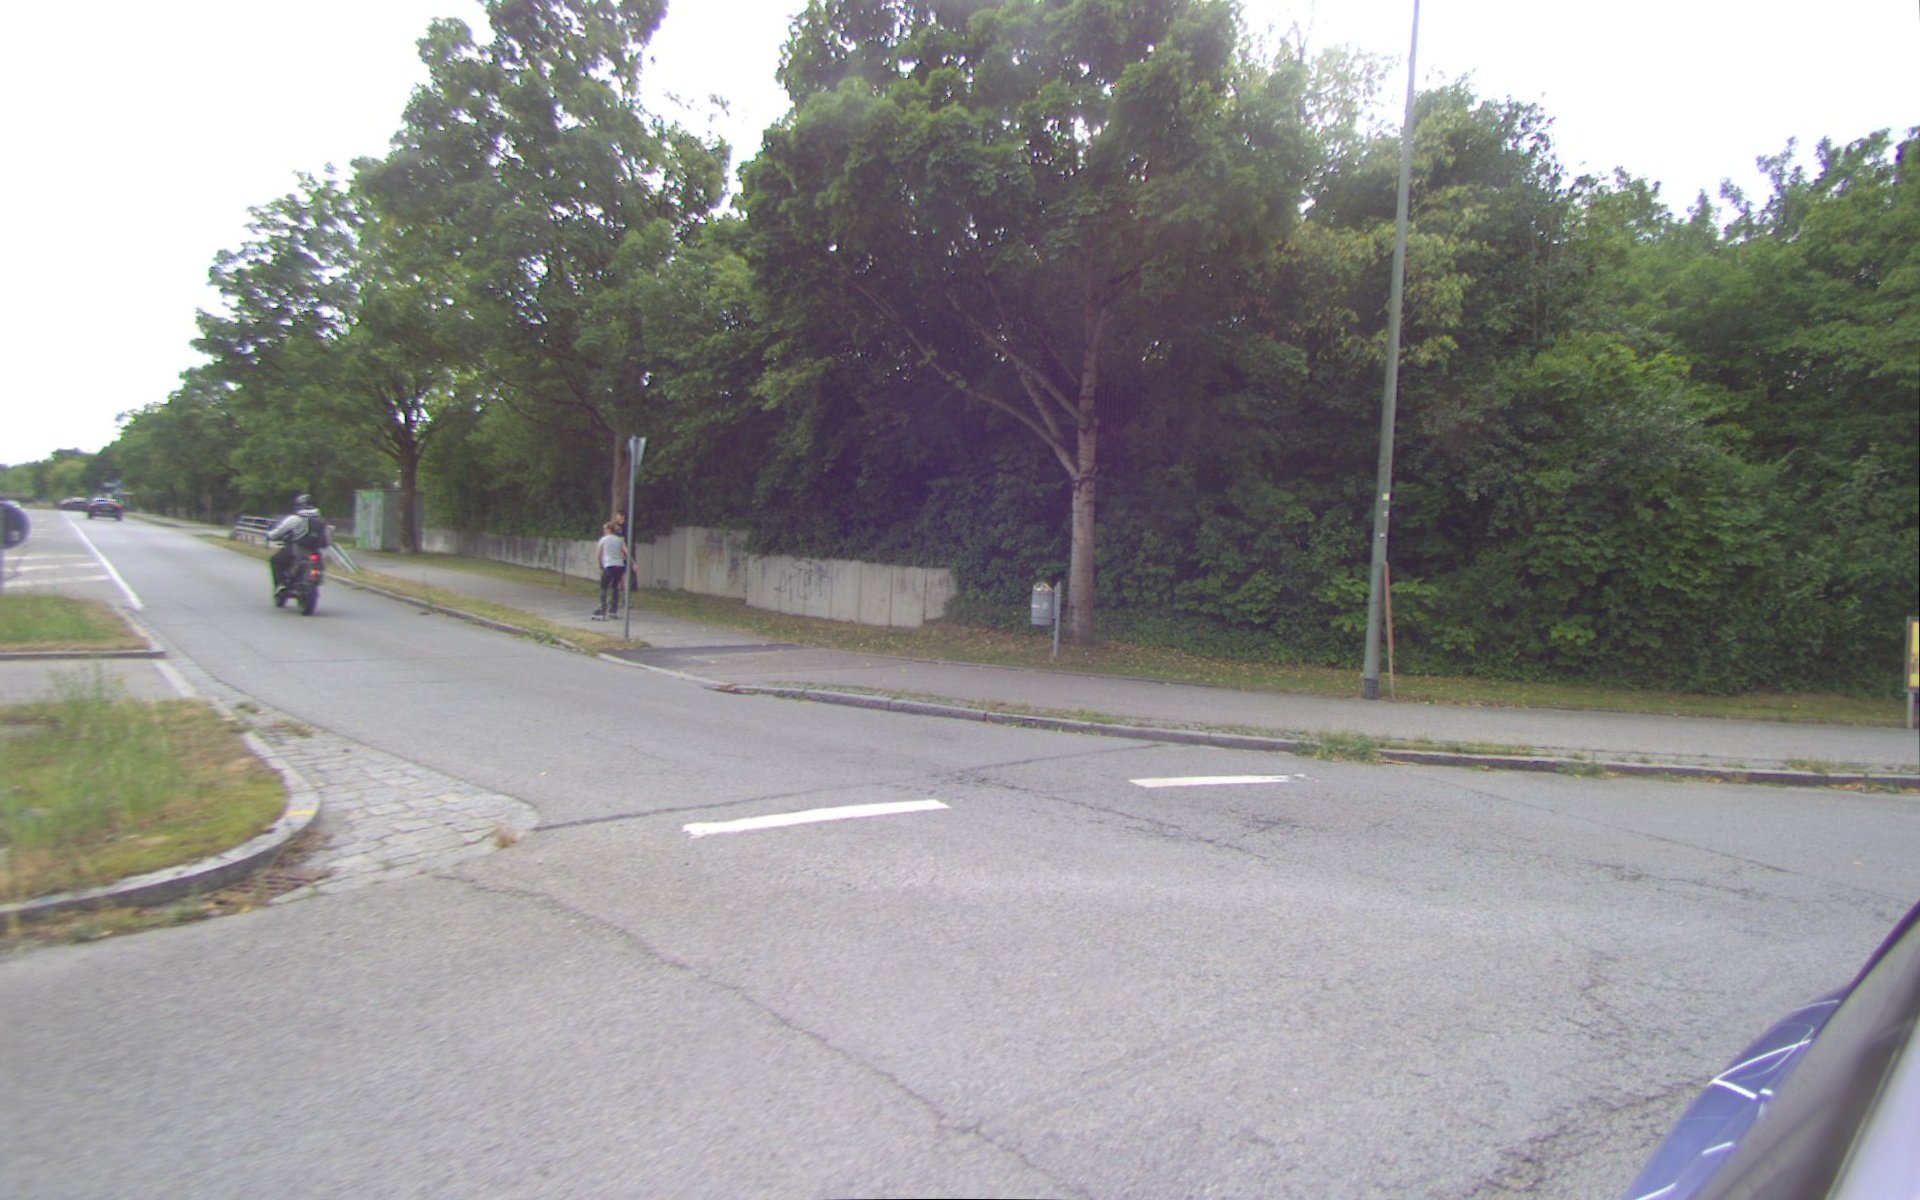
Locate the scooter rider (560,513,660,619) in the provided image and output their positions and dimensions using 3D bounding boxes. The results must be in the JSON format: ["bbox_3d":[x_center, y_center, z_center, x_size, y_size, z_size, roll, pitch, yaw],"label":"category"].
[{"bbox_3d":[-5.943,-0.582,17.162,1.241,1.692,1.083,6,3,43],"label":"scooter rider"}]

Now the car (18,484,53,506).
[{"bbox_3d":[-96.116,-10.921,105.285,2.477,1.970,5.707,1,4,-41],"label":"car"}]

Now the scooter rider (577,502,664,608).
[{"bbox_3d":[-6.534,-0.876,19.473,1.204,1.932,1.127,-1,5,-41],"label":"scooter rider"}]

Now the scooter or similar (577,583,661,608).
[{"bbox_3d":[-6.568,-0.094,19.513,1.204,0.385,1.127,-1,5,-41],"label":"scooter or similar"}]

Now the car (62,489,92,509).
[{"bbox_3d":[-100.114,-11.479,114.787,2.477,1.970,5.707,1,4,-41],"label":"car"}]

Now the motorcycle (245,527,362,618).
[{"bbox_3d":[-9.912,-0.446,15.225,2.613,1.172,0.885,7,4,44],"label":"motorcycle"}]

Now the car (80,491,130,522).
[{"bbox_3d":[-61.133,-6.733,72.349,2.479,1.970,5.703,1,4,-43],"label":"car"}]

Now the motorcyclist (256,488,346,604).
[{"bbox_3d":[-9.932,-0.819,15.243,1.187,1.643,0.850,6,4,43],"label":"motorcyclist"}]

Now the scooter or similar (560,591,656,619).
[{"bbox_3d":[-5.978,0.079,17.193,1.224,0.368,1.083,7,4,42],"label":"scooter or similar"}]
